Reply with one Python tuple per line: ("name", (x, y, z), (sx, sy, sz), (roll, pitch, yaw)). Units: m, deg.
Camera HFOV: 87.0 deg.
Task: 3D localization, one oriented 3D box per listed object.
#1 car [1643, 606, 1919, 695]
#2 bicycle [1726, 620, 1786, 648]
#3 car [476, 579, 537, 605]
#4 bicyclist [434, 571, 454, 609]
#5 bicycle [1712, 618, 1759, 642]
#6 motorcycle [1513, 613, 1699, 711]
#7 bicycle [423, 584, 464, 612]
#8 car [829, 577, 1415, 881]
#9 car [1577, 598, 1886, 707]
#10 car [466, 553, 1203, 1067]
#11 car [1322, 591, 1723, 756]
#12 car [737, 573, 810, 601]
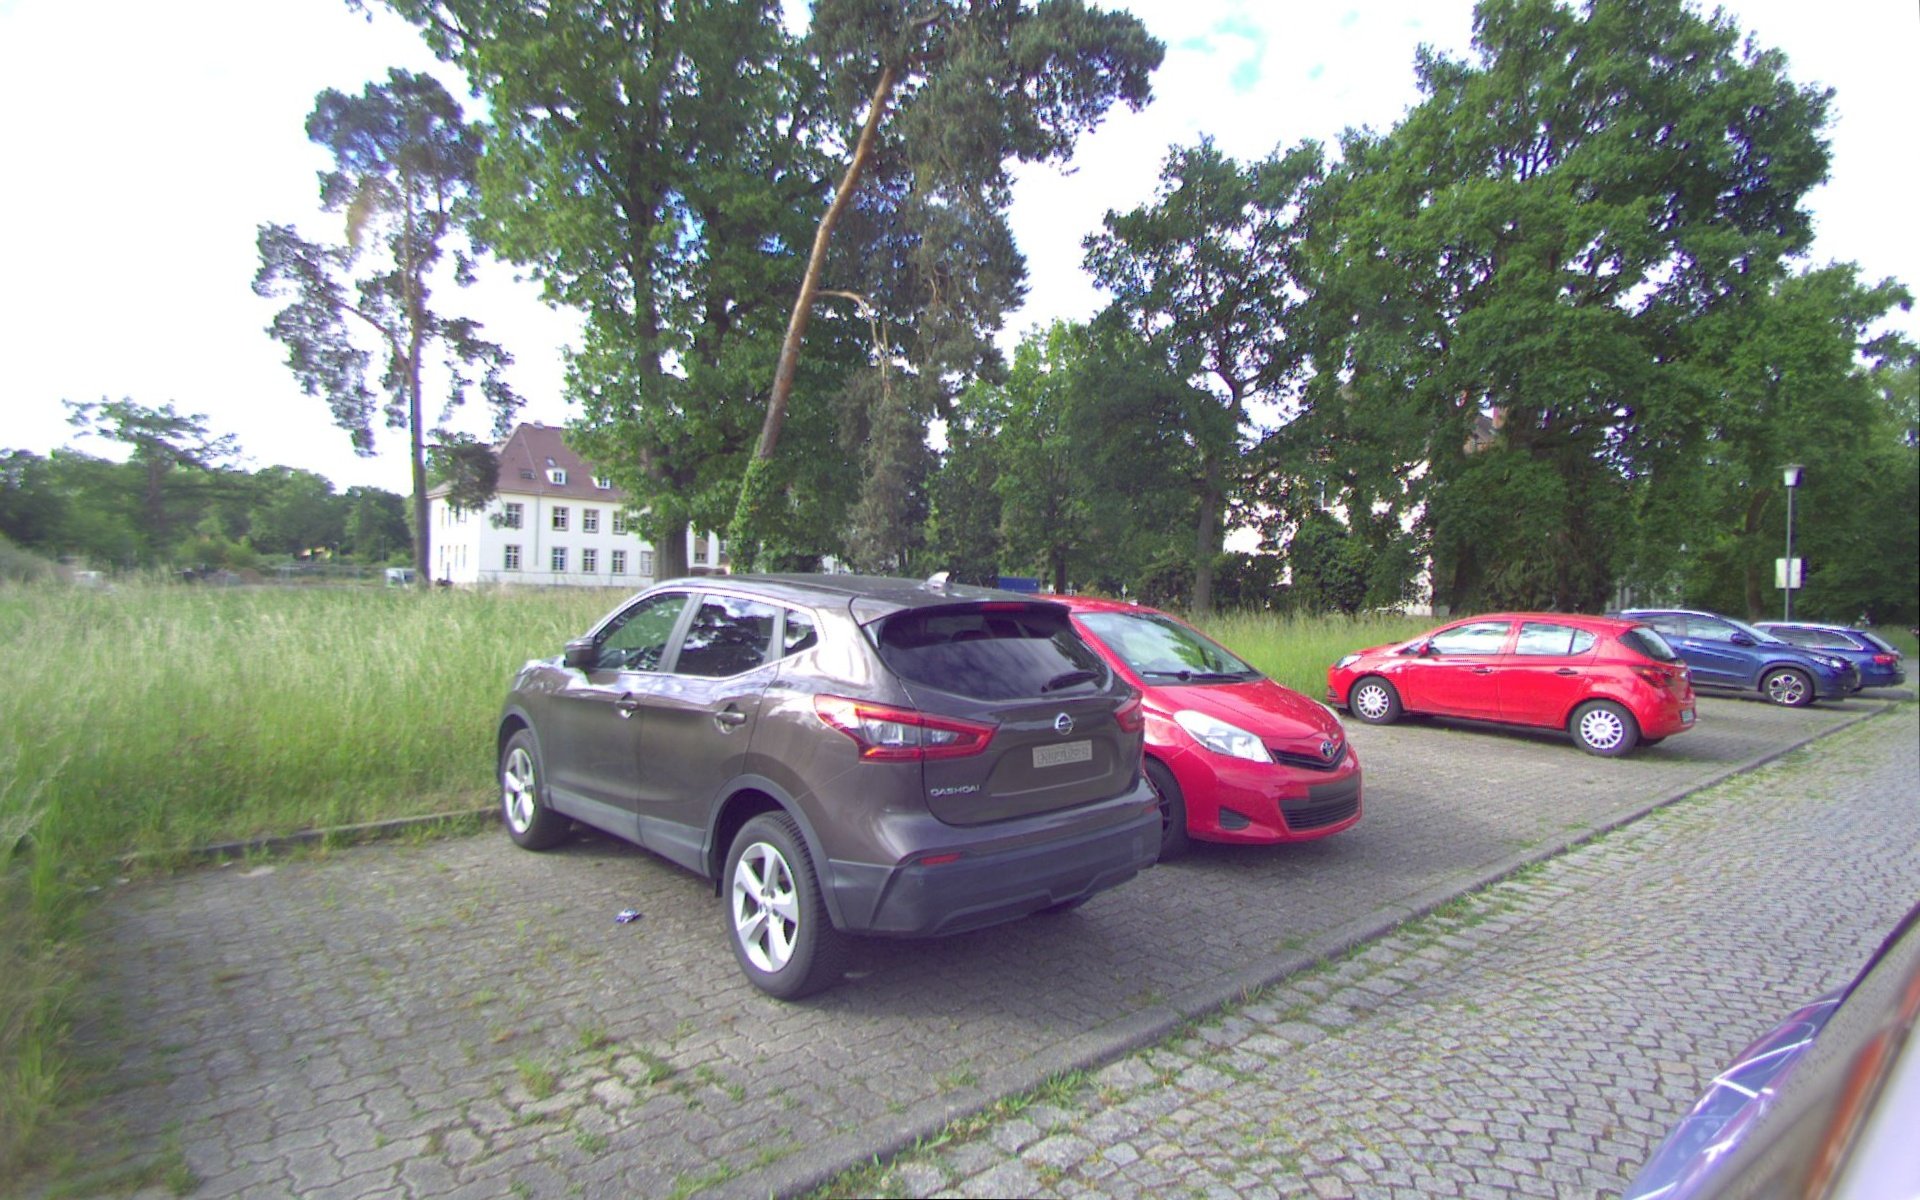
("car", (17.750, 1.011, 21.906), (1.860, 1.483, 4.518), (2, 2, -38))
("bicycle", (35.040, 1.479, 44.568), (1.999, 1.101, 0.474), (2, 3, 27))
("car", (-37.607, -0.640, 83.823), (5.811, 2.039, 2.450), (0, 0, 41))
("bicyclist", (-28.111, -0.559, 55.108), (0.833, 2.039, 0.658), (1, -1, -41))
("bicycle", (38.370, 1.484, 50.122), (1.734, 1.101, 0.548), (2, 3, 27))
("motorcycle", (9.695, 0.889, 15.268), (2.265, 1.291, 0.596), (3, 1, 44))
("bicycle", (-28.124, -0.119, 55.105), (1.900, 1.498, 0.654), (0, 0, -41))
("car", (0.896, 0.647, 7.300), (1.708, 1.537, 3.994), (1, 0, -41))
("car", (14.204, 0.879, 18.829), (1.862, 1.593, 4.271), (2, 1, -41))
("car", (-0.943, 0.626, 5.198), (1.732, 1.600, 3.954), (1, 0, -44))
("car", (6.589, 0.737, 12.156), (1.708, 1.524, 3.845), (2, 1, -42))
("car", (-12.168, -0.831, 66.230), (4.323, 1.723, 1.972), (0, 0, -41))
